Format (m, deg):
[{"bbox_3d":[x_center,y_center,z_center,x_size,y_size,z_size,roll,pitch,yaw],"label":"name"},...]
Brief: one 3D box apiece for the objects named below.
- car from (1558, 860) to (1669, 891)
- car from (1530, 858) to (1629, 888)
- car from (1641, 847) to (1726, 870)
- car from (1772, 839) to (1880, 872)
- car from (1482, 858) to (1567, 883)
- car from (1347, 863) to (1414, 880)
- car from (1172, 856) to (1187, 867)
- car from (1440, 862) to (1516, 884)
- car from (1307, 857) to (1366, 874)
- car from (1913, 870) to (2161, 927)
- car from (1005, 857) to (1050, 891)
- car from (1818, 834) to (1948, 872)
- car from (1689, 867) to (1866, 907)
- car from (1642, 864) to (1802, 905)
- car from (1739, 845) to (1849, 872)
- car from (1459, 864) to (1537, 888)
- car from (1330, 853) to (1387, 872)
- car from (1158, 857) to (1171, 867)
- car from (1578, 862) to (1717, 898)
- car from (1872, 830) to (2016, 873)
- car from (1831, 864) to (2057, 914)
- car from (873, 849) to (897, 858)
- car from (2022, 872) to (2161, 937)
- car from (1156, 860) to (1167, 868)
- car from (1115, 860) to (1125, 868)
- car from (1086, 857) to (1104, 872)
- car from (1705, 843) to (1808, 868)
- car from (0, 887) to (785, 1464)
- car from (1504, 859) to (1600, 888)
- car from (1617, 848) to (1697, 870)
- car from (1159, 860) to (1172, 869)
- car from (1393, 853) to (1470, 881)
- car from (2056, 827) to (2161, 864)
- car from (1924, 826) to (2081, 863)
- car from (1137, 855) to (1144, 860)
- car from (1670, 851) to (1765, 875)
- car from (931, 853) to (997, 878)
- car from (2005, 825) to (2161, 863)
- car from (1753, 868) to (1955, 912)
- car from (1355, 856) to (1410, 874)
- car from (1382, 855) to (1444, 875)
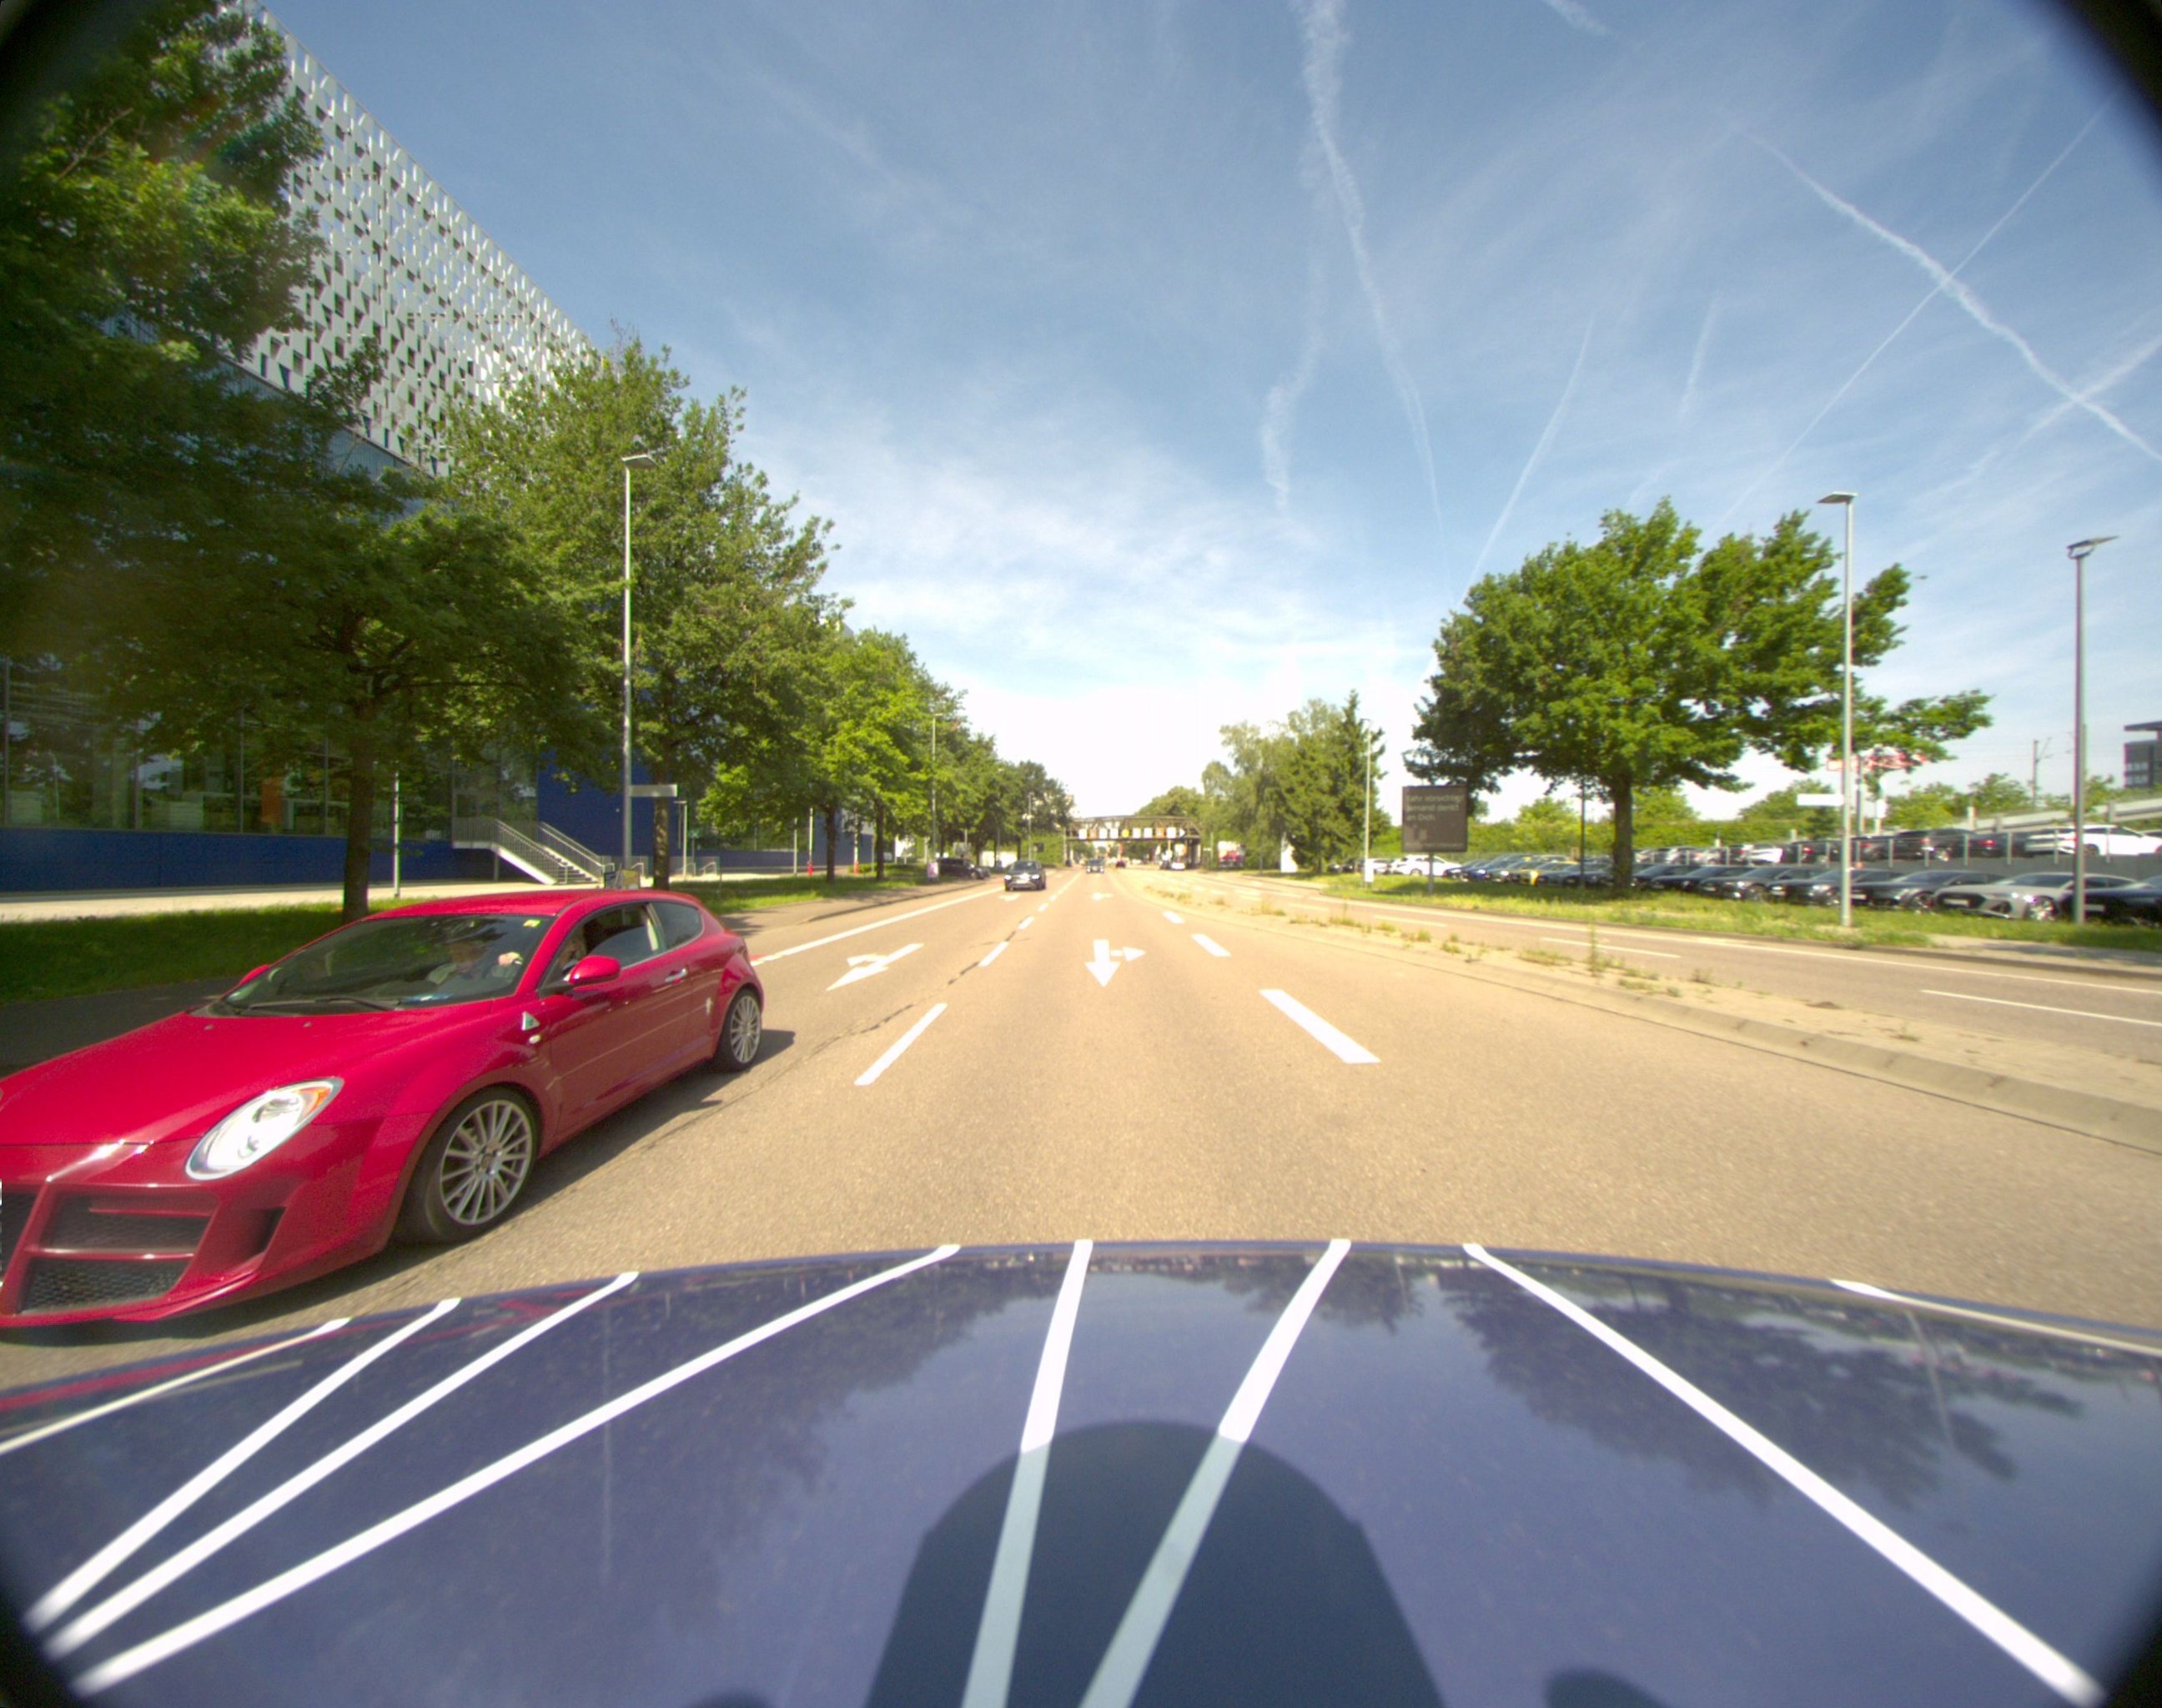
[{"bbox_3d":[24.377,0.962,34.905,3.689,1.277,1.985,2,0,-1],"label":"car"},{"bbox_3d":[24.524,0.926,37.479,3.603,1.277,1.865,2,0,-1],"label":"car"},{"bbox_3d":[40.774,0.314,51.463,4.213,1.468,2.000,-1,0,-2],"label":"car"},{"bbox_3d":[40.471,0.070,41.342,4.279,1.695,1.665,1,0,-1],"label":"car"},{"bbox_3d":[24.733,0.907,42.458,3.752,1.277,1.663,2,0,-1],"label":"car"},{"bbox_3d":[24.935,1.470,63.377,4.863,1.261,2.000,-1,0,1],"label":"car"},{"bbox_3d":[14.696,1.143,113.867,1.998,1.608,4.105,2,0,5],"label":"car"},{"bbox_3d":[24.822,1.169,47.567,3.801,1.277,1.744,-1,0,-1],"label":"car"},{"bbox_3d":[23.192,1.023,69.057,4.698,1.381,2.000,-1,0,1],"label":"car"},{"bbox_3d":[24.233,1.088,19.074,4.511,1.282,2.004,1,0,-1],"label":"car"},{"bbox_3d":[-2.687,0.970,38.836,1.824,1.632,4.113,-1,0,2],"label":"car"},{"bbox_3d":[40.483,-0.040,38.429,4.511,1.805,1.979,1,0,-1],"label":"car"},{"bbox_3d":[24.570,1.155,26.913,4.511,1.282,1.919,1,0,-1],"label":"car"},{"bbox_3d":[24.564,1.154,29.232,4.511,1.467,1.919,1,0,-1],"label":"car"},{"bbox_3d":[40.881,0.273,43.650,4.511,1.476,1.979,1,0,-1],"label":"car"},{"bbox_3d":[24.648,1.305,45.012,3.603,1.277,1.744,2,0,-1],"label":"car"},{"bbox_3d":[24.277,0.760,66.544,4.224,1.537,2.000,-1,0,1],"label":"car"},{"bbox_3d":[16.096,1.602,147.088,1.998,1.850,5.451,2,0,1],"label":"car"},{"bbox_3d":[24.343,1.094,32.773,4.511,1.467,1.979,1,0,-1],"label":"car"},{"bbox_3d":[40.436,-0.118,35.677,4.511,1.951,1.979,1,0,-1],"label":"car"},{"bbox_3d":[24.326,0.965,21.518,4.511,1.282,1.691,1,0,-1],"label":"car"},{"bbox_3d":[-36.075,-0.095,139.855,4.293,1.629,1.860,-1,0,30],"label":"car"},{"bbox_3d":[24.040,1.077,16.649,4.511,1.282,1.919,1,0,-1],"label":"car"},{"bbox_3d":[14.709,1.814,138.406,1.639,1.379,4.318,1,0,1],"label":"car"},{"bbox_3d":[7.323,1.840,143.241,1.785,1.438,4.120,1,0,1],"label":"car"},{"bbox_3d":[1.465,1.068,79.235,1.888,1.427,4.000,-1,0,1],"label":"car"},{"bbox_3d":[40.810,0.088,45.987,4.511,1.476,1.979,1,0,-1],"label":"car"},{"bbox_3d":[-3.376,1.020,4.180,1.798,1.446,3.979,-1,1,2],"label":"car"},{"bbox_3d":[24.781,0.999,40.036,3.897,1.332,1.840,2,0,-1],"label":"car"},{"bbox_3d":[40.836,0.328,53.943,4.213,1.468,2.000,-1,0,-2],"label":"car"},{"bbox_3d":[14.326,1.726,128.653,1.702,1.510,4.027,2,0,1],"label":"car"},{"bbox_3d":[24.516,0.875,53.322,4.474,1.864,2.000,-1,0,2],"label":"car"},{"bbox_3d":[46.644,-0.365,33.705,1.955,1.564,3.789,-1,0,1],"label":"car"},{"bbox_3d":[40.440,-0.423,33.429,4.511,1.542,1.979,1,0,-1],"label":"car"},{"bbox_3d":[20.263,1.232,259.572,1.824,1.711,3.636,-1,0,-1],"label":"car"},{"bbox_3d":[40.693,0.559,48.629,4.511,1.410,1.891,-1,0,-1],"label":"car"},{"bbox_3d":[-8.698,0.823,56.706,4.452,1.684,1.845,1,1,8],"label":"car"},{"bbox_3d":[40.585,-0.386,30.540,4.511,1.476,1.979,1,0,-1],"label":"car"},{"bbox_3d":[24.501,1.129,24.216,4.511,1.282,1.919,1,0,-1],"label":"car"},{"bbox_3d":[24.229,0.864,61.161,3.689,1.363,1.816,-1,0,1],"label":"car"},{"bbox_3d":[25.723,0.864,58.955,3.995,1.477,1.848,-1,0,5],"label":"car"}]
